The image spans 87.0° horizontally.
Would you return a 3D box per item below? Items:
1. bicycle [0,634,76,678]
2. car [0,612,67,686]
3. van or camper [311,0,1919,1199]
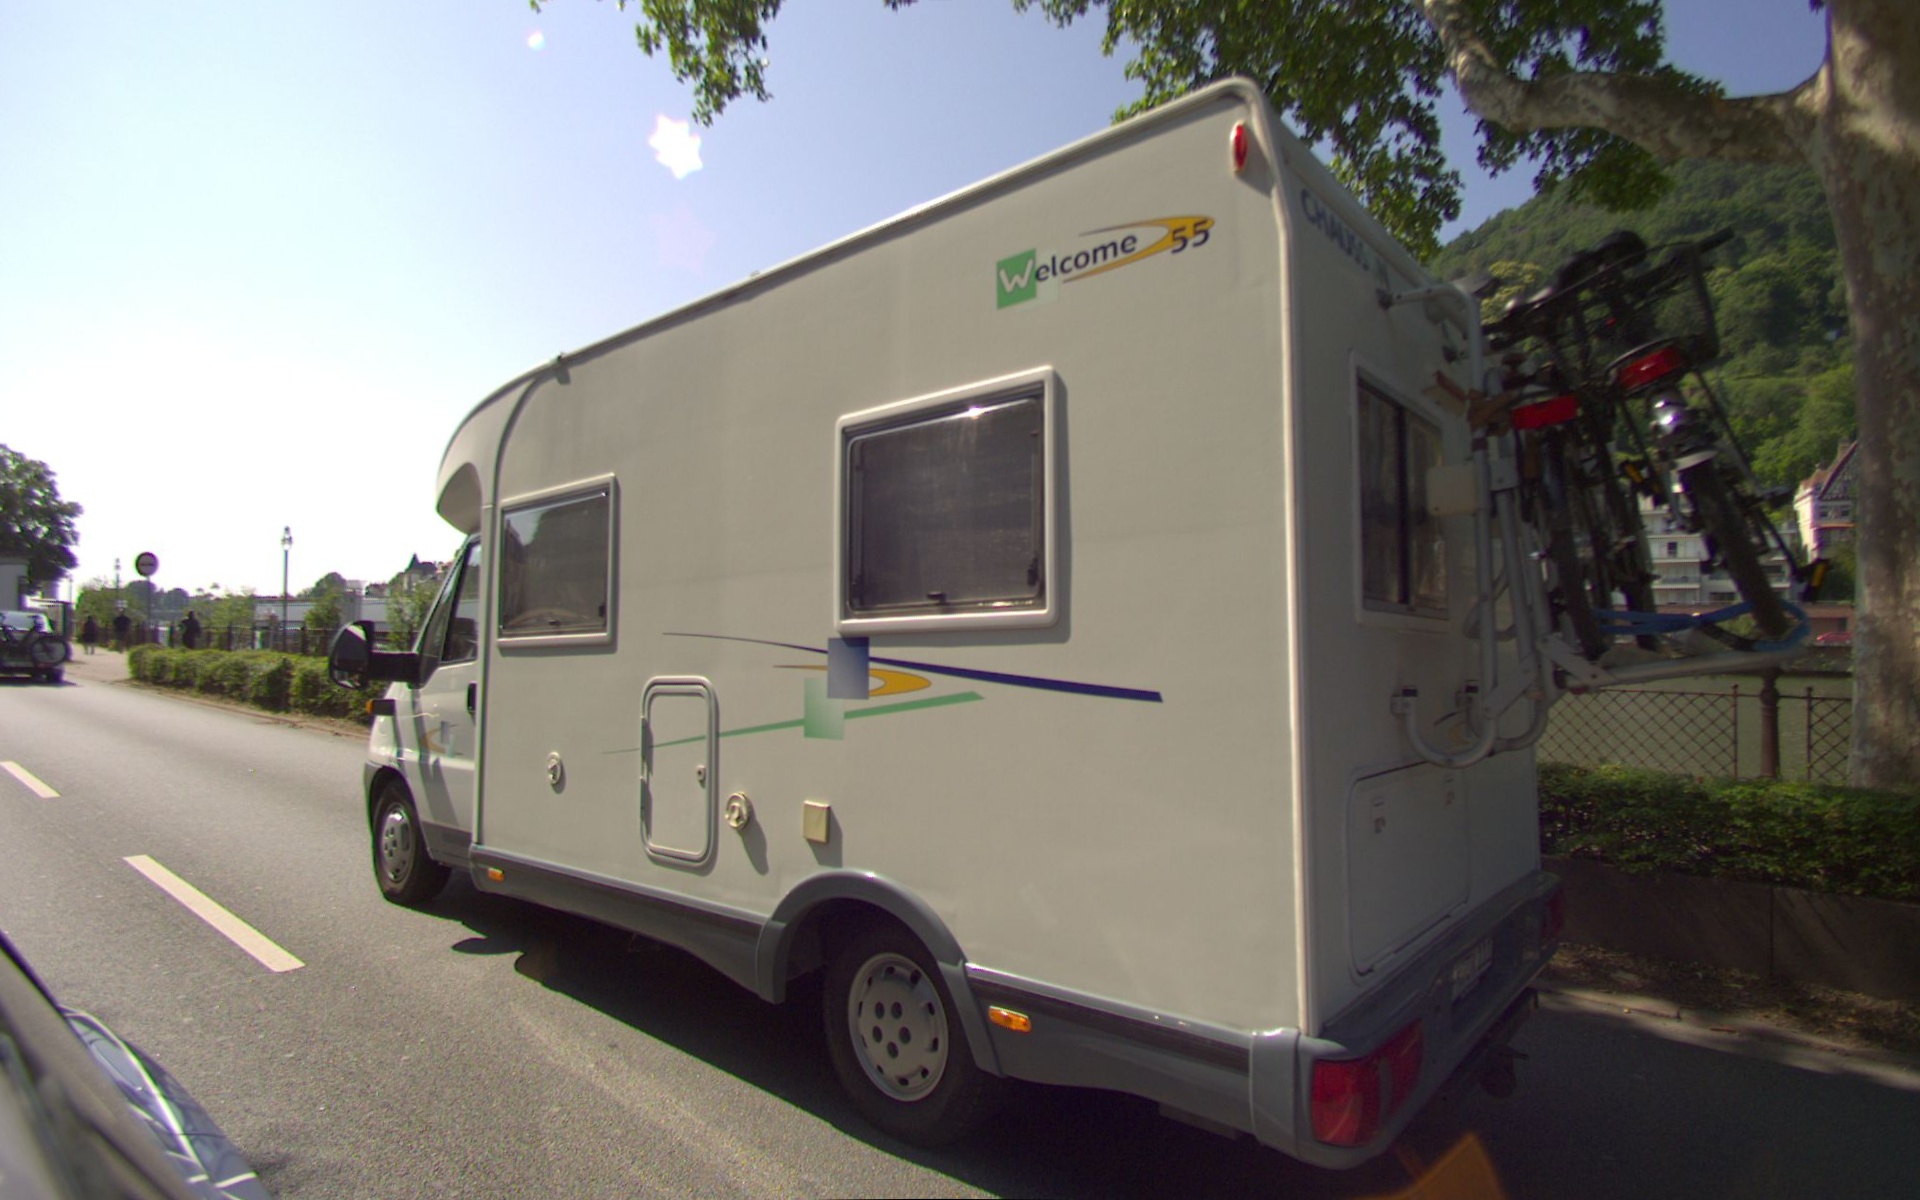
[{"bbox_3d":[-20.647,1.215,22.124,0.955,0.933,1.848,-1,-3,41],"label":"bicycle"},{"bbox_3d":[-22.510,1.118,23.708,3.957,1.625,1.802,-1,-3,41],"label":"car"},{"bbox_3d":[-0.223,0.217,4.189,6.260,2.682,2.298,-1,-4,40],"label":"van or camper"}]
